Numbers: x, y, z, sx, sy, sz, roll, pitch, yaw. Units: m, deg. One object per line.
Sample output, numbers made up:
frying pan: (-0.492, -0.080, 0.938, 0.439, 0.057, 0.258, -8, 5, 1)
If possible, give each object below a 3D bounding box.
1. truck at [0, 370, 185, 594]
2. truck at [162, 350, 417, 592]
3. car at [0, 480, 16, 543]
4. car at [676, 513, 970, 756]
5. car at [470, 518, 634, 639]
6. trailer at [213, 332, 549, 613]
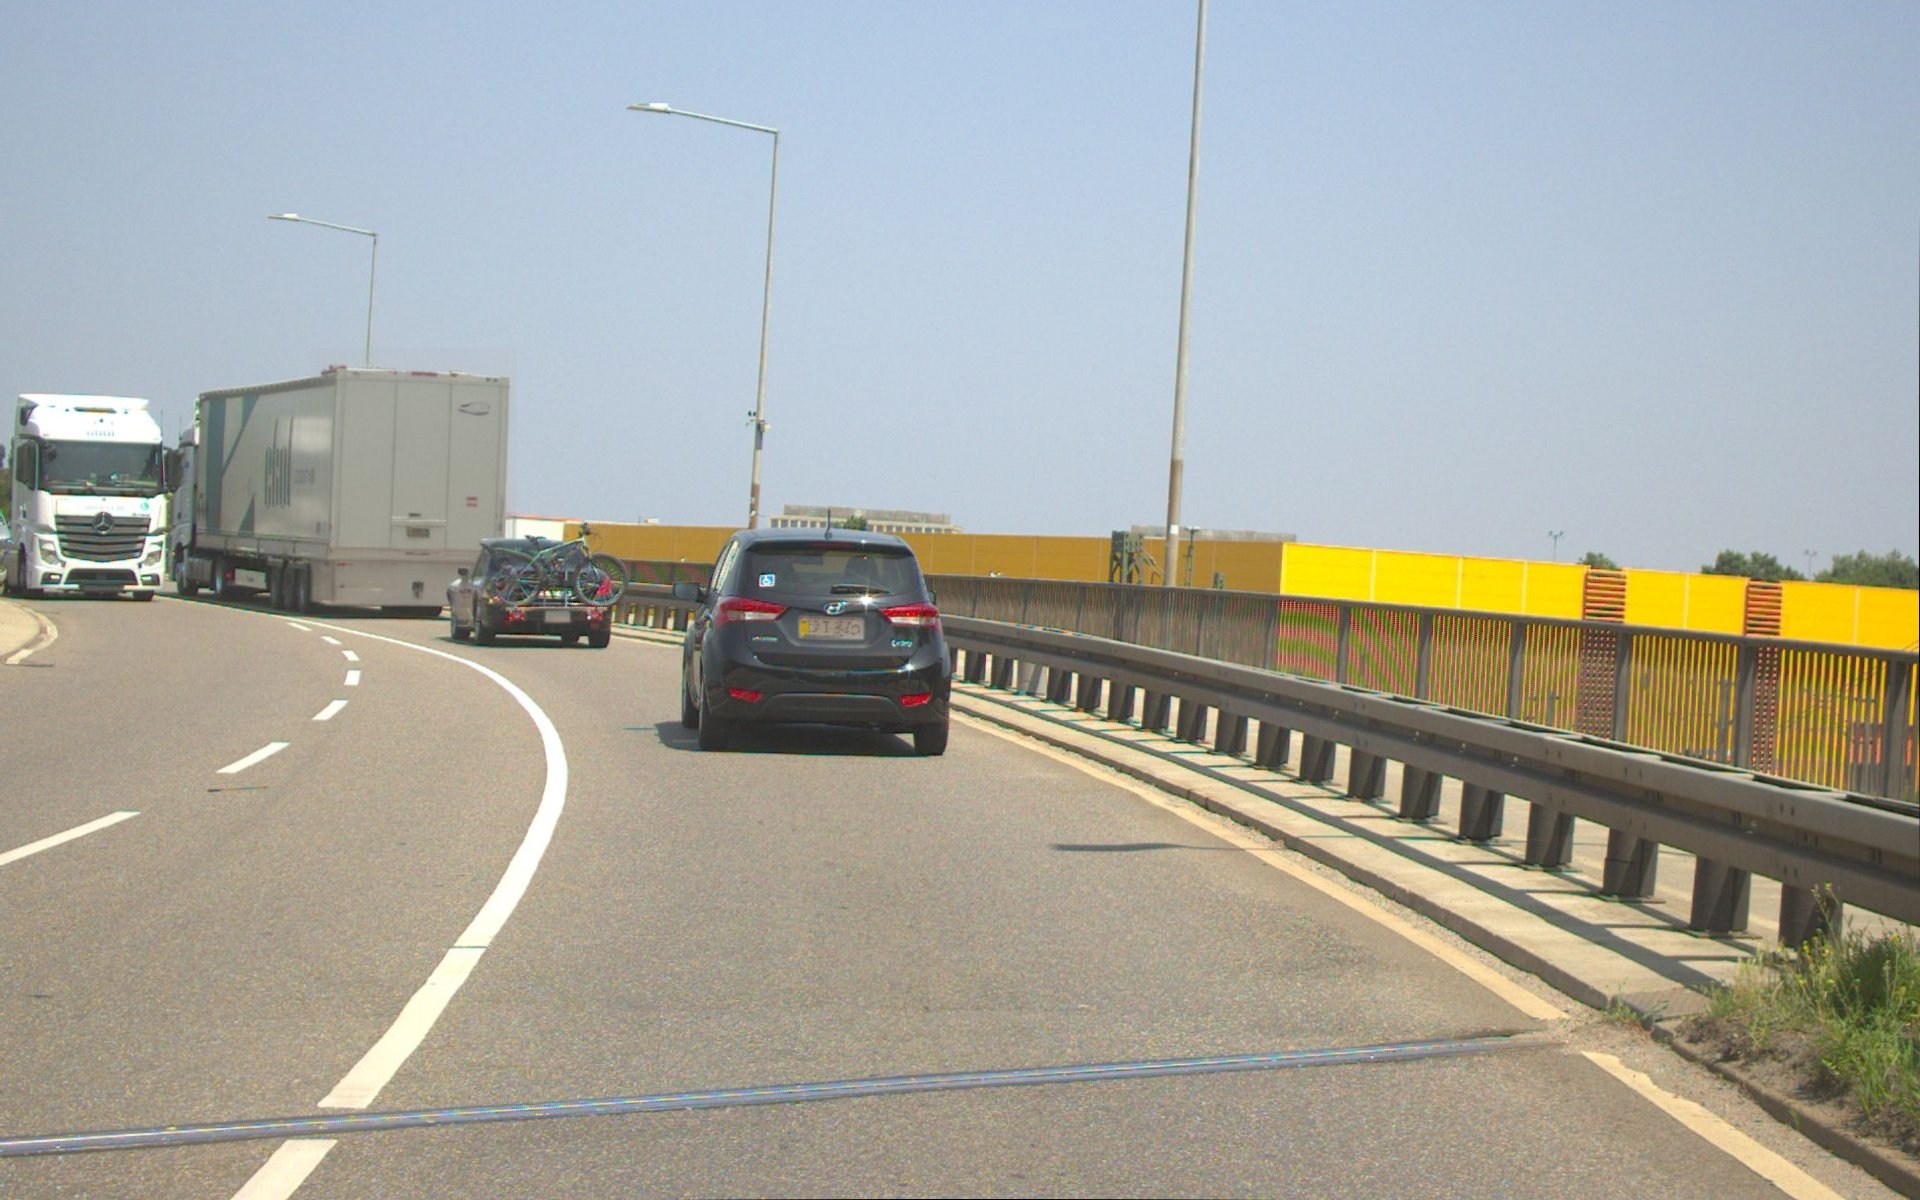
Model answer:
truck: (-16.905, -2.274, 66.092, 2.705, 3.978, 6.188, 2, 1, -23)
truck: (-13.442, -2.565, 68.474, 3.571, 4.425, 6.517, 2, 1, -22)
car: (-22.274, -2.035, 76.874, 1.558, 1.381, 3.616, 2, 1, -26)
car: (-1.094, 0.188, 25.405, 1.921, 1.568, 3.892, 3, 1, -5)
car: (-5.450, -0.311, 45.581, 2.011, 1.424, 3.778, 3, 1, -8)
trailer: (-10.526, -2.260, 61.120, 3.568, 4.369, 11.445, 2, 1, -21)
